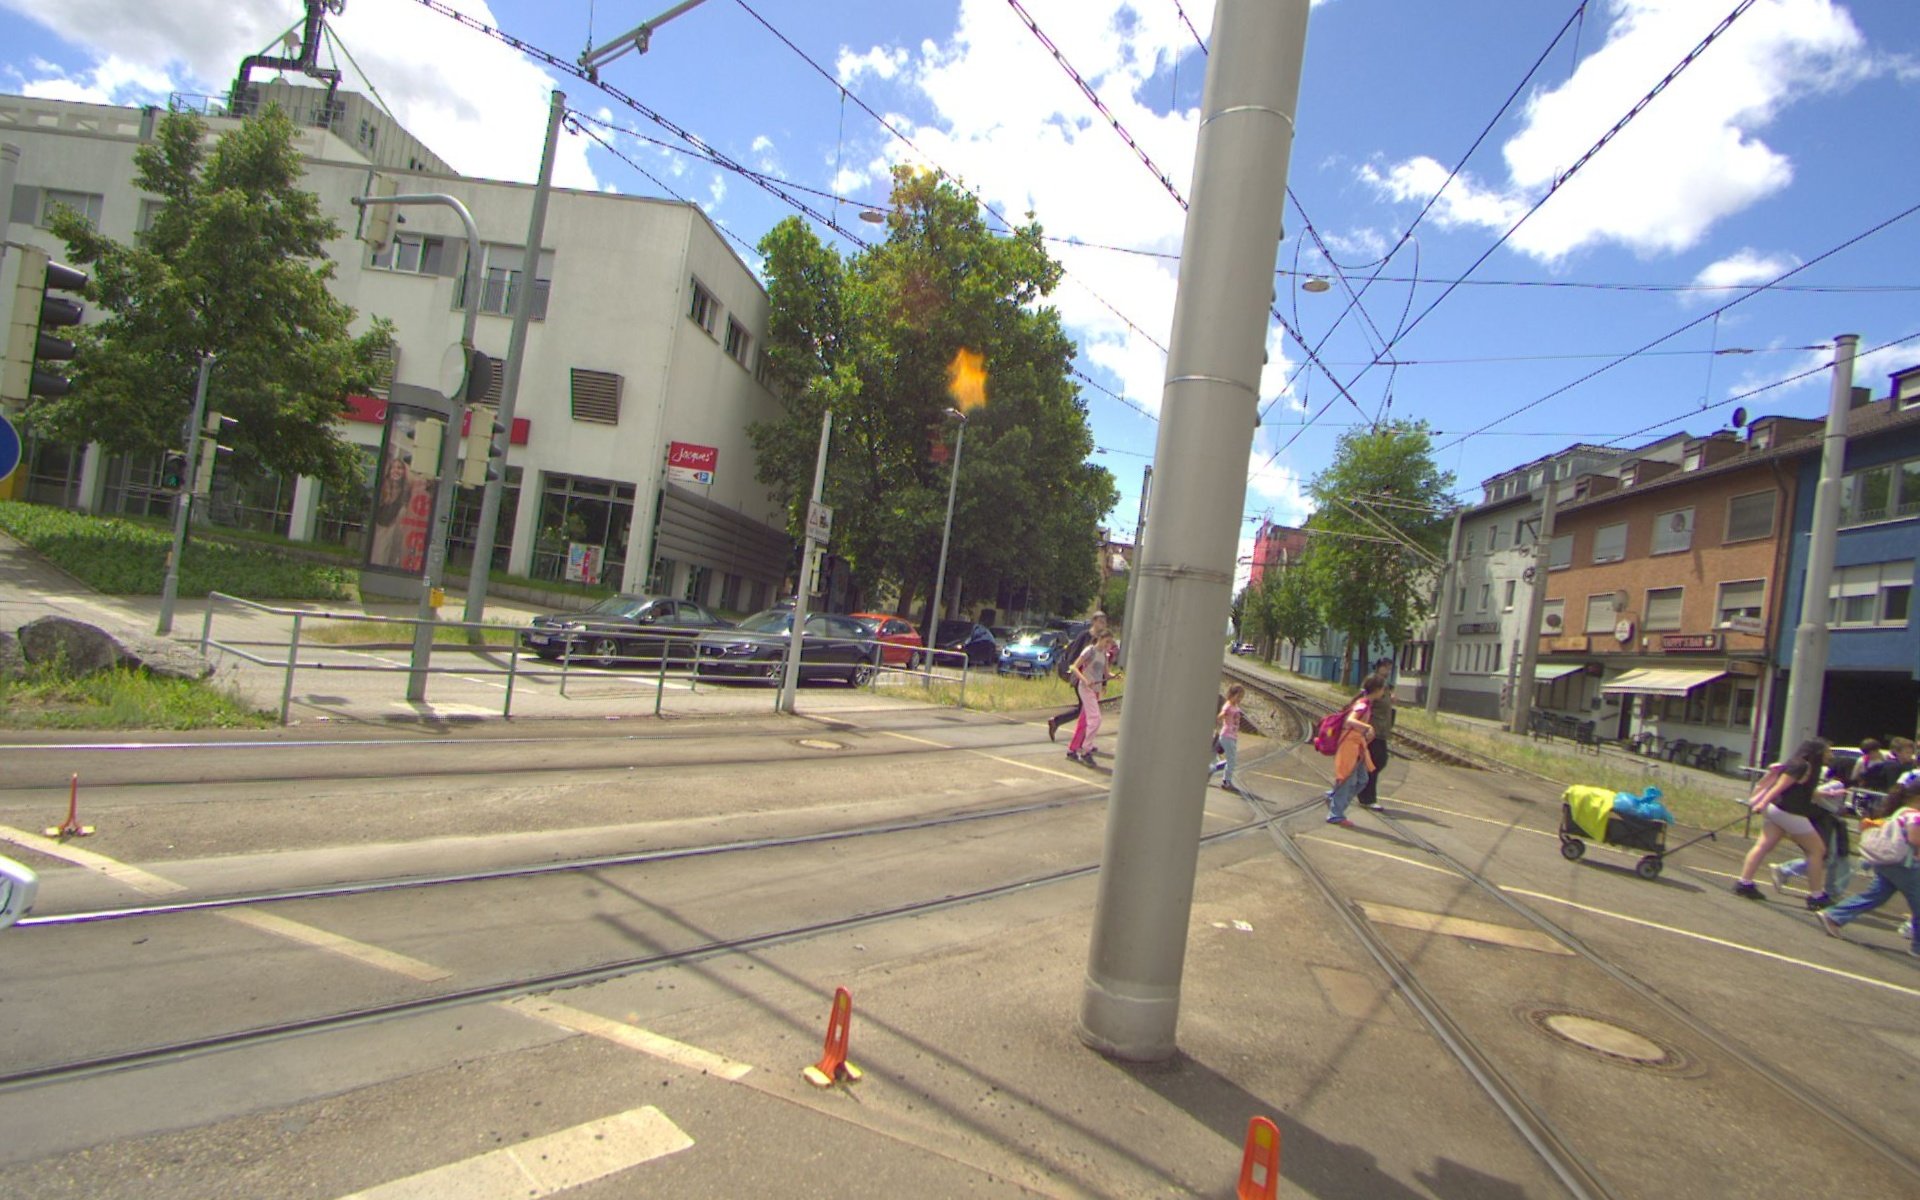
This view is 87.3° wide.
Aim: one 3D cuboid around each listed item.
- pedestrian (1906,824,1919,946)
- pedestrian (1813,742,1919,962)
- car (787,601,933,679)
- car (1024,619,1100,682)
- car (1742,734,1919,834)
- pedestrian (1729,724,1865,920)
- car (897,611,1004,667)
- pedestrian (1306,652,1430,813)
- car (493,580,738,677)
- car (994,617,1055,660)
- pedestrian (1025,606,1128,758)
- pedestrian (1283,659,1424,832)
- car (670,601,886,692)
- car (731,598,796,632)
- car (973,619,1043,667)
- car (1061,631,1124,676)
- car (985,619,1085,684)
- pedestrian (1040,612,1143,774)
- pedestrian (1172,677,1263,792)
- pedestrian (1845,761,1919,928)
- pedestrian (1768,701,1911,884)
[{"bbox_3d":[7.877,2.017,7.799,0.667,1.417,0.584,7,0,45],"label":"pedestrian"},{"bbox_3d":[7.031,1.880,7.572,0.768,1.487,0.540,7,0,38],"label":"pedestrian"},{"bbox_3d":[-2.641,1.142,27.589,1.965,1.661,3.999,7,-2,27],"label":"car"},{"bbox_3d":[3.722,1.832,36.030,1.817,1.903,4.153,7,-1,16],"label":"car"},{"bbox_3d":[19.923,4.098,22.552,1.680,1.549,4.003,9,-1,5],"label":"car"},{"bbox_3d":[7.329,1.915,8.817,0.582,1.545,0.669,7,0,-36],"label":"pedestrian"},{"bbox_3d":[-0.240,1.326,33.209,1.869,1.481,3.999,7,-1,25],"label":"car"},{"bbox_3d":[4.667,1.503,11.514,0.820,1.671,0.882,7,0,-41],"label":"pedestrian"},{"bbox_3d":[-6.671,0.633,20.008,2.017,1.482,4.321,6,-2,27],"label":"car"},{"bbox_3d":[2.929,1.735,44.828,1.962,1.638,4.003,7,-1,13],"label":"car"},{"bbox_3d":[1.536,1.067,13.396,0.814,1.863,0.963,7,0,-19],"label":"pedestrian"},{"bbox_3d":[3.803,1.393,9.767,0.732,1.499,0.849,7,0,-25],"label":"pedestrian"},{"bbox_3d":[-3.367,0.905,19.366,1.712,1.456,4.082,5,0,33],"label":"car"},{"bbox_3d":[-13.288,1.015,68.125,3.929,1.665,1.624,9,-2,-3],"label":"car"},{"bbox_3d":[1.955,1.697,39.552,1.962,1.602,4.003,6,-1,12],"label":"car"},{"bbox_3d":[5.753,2.314,43.185,1.977,1.572,4.003,7,-1,16],"label":"car"},{"bbox_3d":[2.374,1.605,30.785,1.892,1.658,4.002,7,-1,20],"label":"car"},{"bbox_3d":[1.539,1.081,11.804,0.744,1.771,0.687,7,0,-32],"label":"pedestrian"},{"bbox_3d":[2.933,1.521,11.487,0.580,1.181,0.671,7,0,-25],"label":"pedestrian"},{"bbox_3d":[11.009,2.835,11.704,0.580,1.771,0.748,7,0,-25],"label":"pedestrian"},{"bbox_3d":[8.021,1.741,9.189,0.580,1.509,0.671,8,-1,-25],"label":"pedestrian"}]
